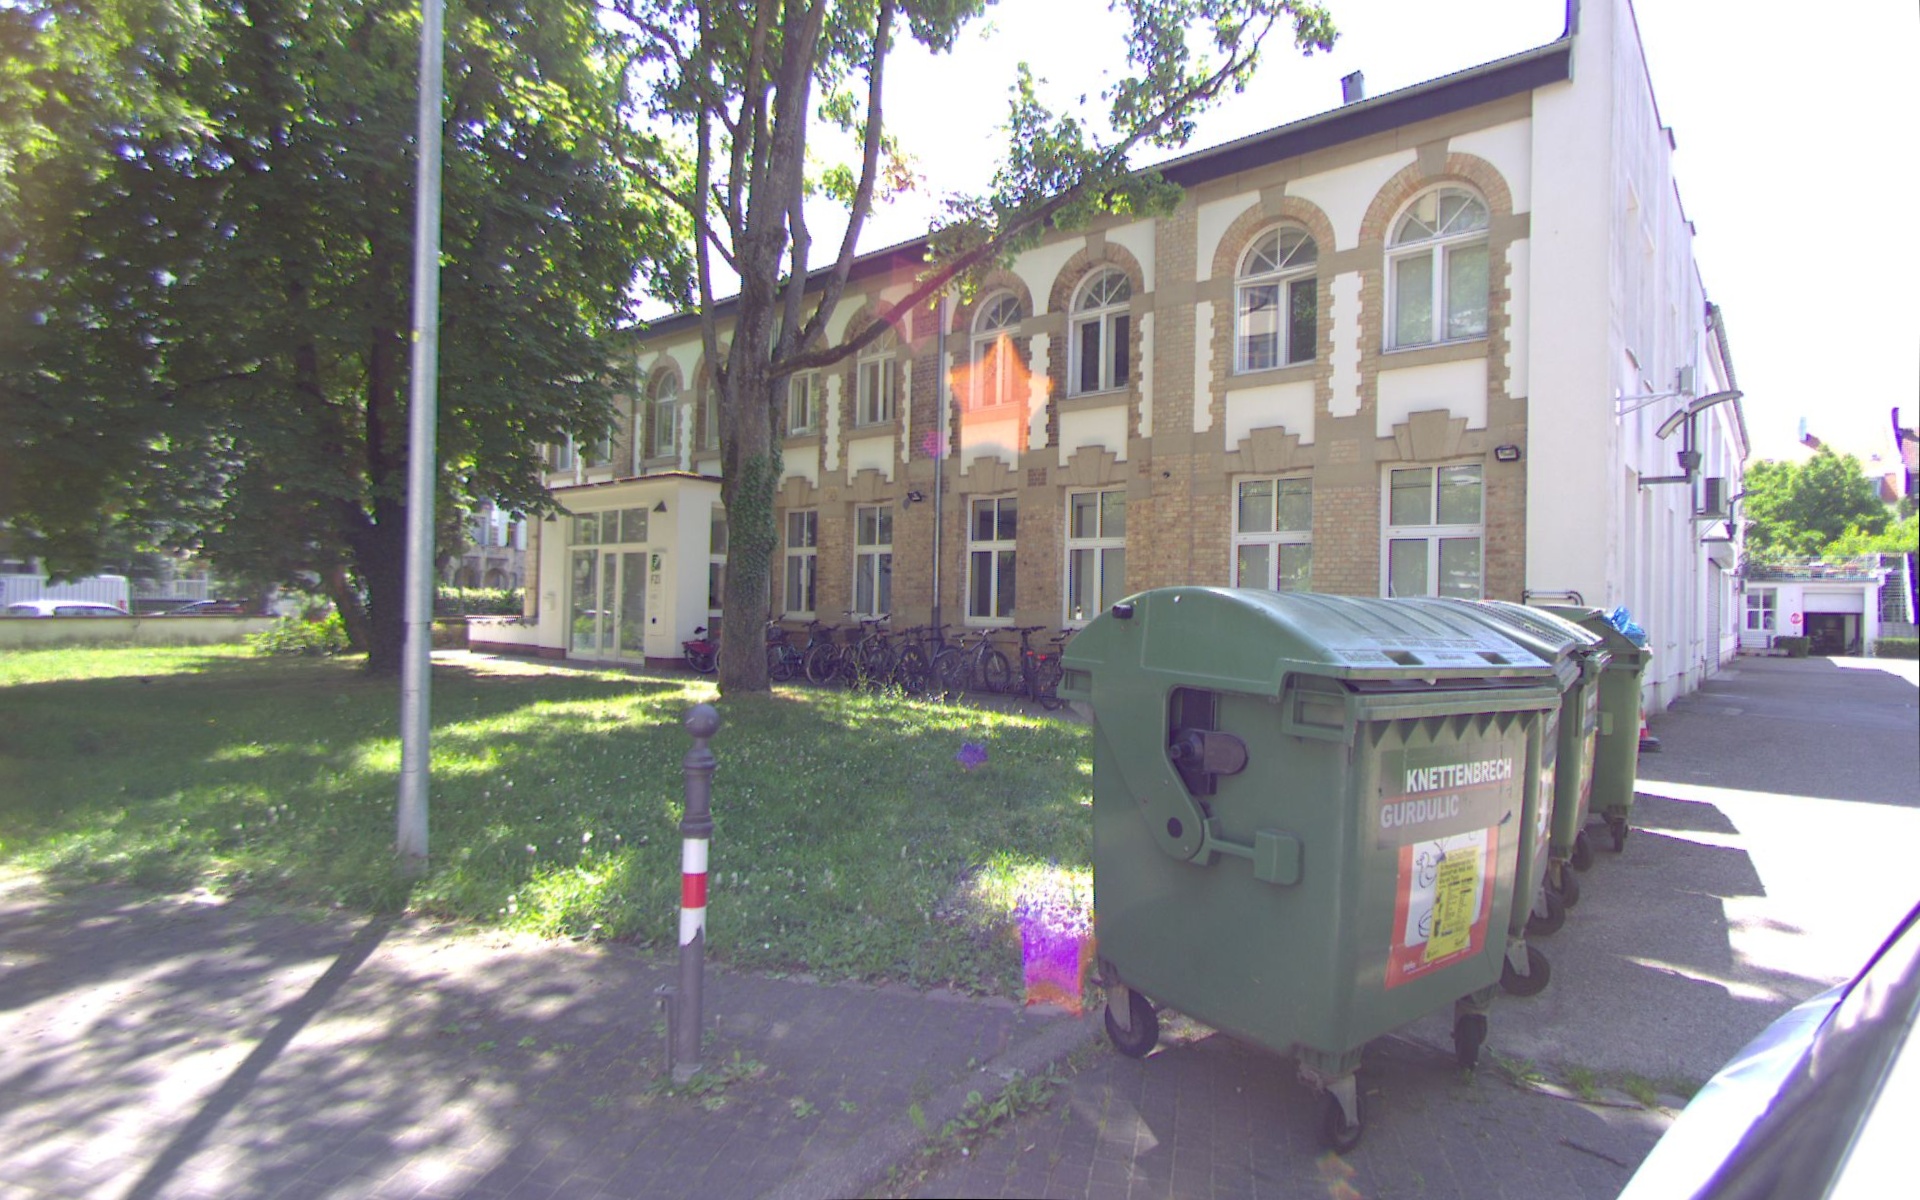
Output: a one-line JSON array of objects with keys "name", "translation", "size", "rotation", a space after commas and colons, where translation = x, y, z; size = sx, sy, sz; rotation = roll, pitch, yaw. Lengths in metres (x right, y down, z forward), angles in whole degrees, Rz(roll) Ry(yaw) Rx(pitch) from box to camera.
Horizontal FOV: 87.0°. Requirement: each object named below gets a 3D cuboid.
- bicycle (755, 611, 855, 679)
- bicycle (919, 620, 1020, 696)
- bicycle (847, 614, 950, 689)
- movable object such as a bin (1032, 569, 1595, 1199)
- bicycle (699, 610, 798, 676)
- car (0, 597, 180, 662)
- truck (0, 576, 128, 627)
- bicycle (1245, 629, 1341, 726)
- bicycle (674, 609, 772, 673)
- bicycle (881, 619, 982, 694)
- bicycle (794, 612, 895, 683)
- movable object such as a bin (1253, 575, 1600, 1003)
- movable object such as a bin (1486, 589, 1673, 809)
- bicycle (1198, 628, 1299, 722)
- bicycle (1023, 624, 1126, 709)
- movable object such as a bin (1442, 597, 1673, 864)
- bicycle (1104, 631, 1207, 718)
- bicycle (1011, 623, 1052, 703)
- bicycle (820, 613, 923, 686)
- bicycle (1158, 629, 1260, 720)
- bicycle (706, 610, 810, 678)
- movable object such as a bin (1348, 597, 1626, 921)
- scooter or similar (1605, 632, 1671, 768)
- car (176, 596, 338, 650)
[{"name": "bicycle", "translation": [-2.762, 0.783, 18.158], "size": [0.587, 1.157, 1.814], "rotation": [0, -1, 41]}, {"name": "bicycle", "translation": [0.172, 0.862, 15.618], "size": [0.521, 1.084, 1.808], "rotation": [0, -1, 41]}, {"name": "bicycle", "translation": [-0.983, 0.816, 16.649], "size": [0.587, 1.157, 1.814], "rotation": [0, -1, 41]}, {"name": "movable object such as a bin", "translation": [1.108, 0.669, 3.216], "size": [1.309, 1.488, 1.181], "rotation": [0, 0, -39]}, {"name": "bicycle", "translation": [-3.936, 0.781, 18.957], "size": [0.587, 1.157, 1.814], "rotation": [0, -1, 41]}, {"name": "car", "translation": [-22.333, 0.684, 25.635], "size": [1.680, 1.482, 3.923], "rotation": [1, 0, 12]}, {"name": "truck", "translation": [-34.914, 0.051, 38.792], "size": [4.556, 1.856, 1.655], "rotation": [0, 0, -36]}, {"name": "bicycle", "translation": [4.092, 0.907, 12.350], "size": [0.453, 1.081, 1.808], "rotation": [0, -1, 41]}, {"name": "bicycle", "translation": [-4.524, 0.763, 19.417], "size": [0.587, 1.157, 1.814], "rotation": [0, -1, 41]}, {"name": "bicycle", "translation": [-0.427, 0.873, 16.102], "size": [0.521, 1.114, 1.814], "rotation": [0, -1, 41]}, {"name": "bicycle", "translation": [-1.965, 0.794, 17.473], "size": [0.587, 1.157, 1.814], "rotation": [0, -1, 41]}, {"name": "movable object such as a bin", "translation": [2.060, 0.653, 4.399], "size": [1.175, 1.488, 1.295], "rotation": [0, 0, 35]}, {"name": "movable object such as a bin", "translation": [4.826, 0.683, 7.948], "size": [1.149, 1.524, 1.446], "rotation": [0, 0, 31]}, {"name": "bicycle", "translation": [3.648, 0.898, 12.689], "size": [0.502, 1.081, 1.808], "rotation": [0, -1, 41]}, {"name": "bicycle", "translation": [1.652, 0.920, 14.363], "size": [0.521, 1.117, 1.807], "rotation": [0, -2, 41]}, {"name": "movable object such as a bin", "translation": [3.852, 0.724, 6.530], "size": [1.174, 1.488, 1.295], "rotation": [0, 0, 34]}, {"name": "bicycle", "translation": [2.643, 0.958, 13.541], "size": [0.502, 1.081, 1.808], "rotation": [0, -1, 41]}, {"name": "bicycle", "translation": [1.089, 0.910, 15.217], "size": [0.464, 1.117, 1.830], "rotation": [1, -1, 8]}, {"name": "bicycle", "translation": [-1.467, 0.808, 17.061], "size": [0.587, 1.157, 1.814], "rotation": [0, -1, 41]}, {"name": "bicycle", "translation": [3.247, 0.924, 13.091], "size": [0.502, 1.081, 1.808], "rotation": [0, -1, 41]}, {"name": "bicycle", "translation": [-3.618, 0.773, 18.260], "size": [1.811, 1.157, 0.588], "rotation": [1, -1, -45]}, {"name": "movable object such as a bin", "translation": [2.907, 0.729, 5.543], "size": [1.175, 1.488, 1.294], "rotation": [0, 0, 36]}, {"name": "scooter or similar", "translation": [6.554, 0.922, 9.814], "size": [0.461, 1.188, 1.342], "rotation": [0, 0, 31]}, {"name": "car", "translation": [-21.112, 0.656, 30.595], "size": [1.680, 1.482, 3.923], "rotation": [1, 0, 12]}]
